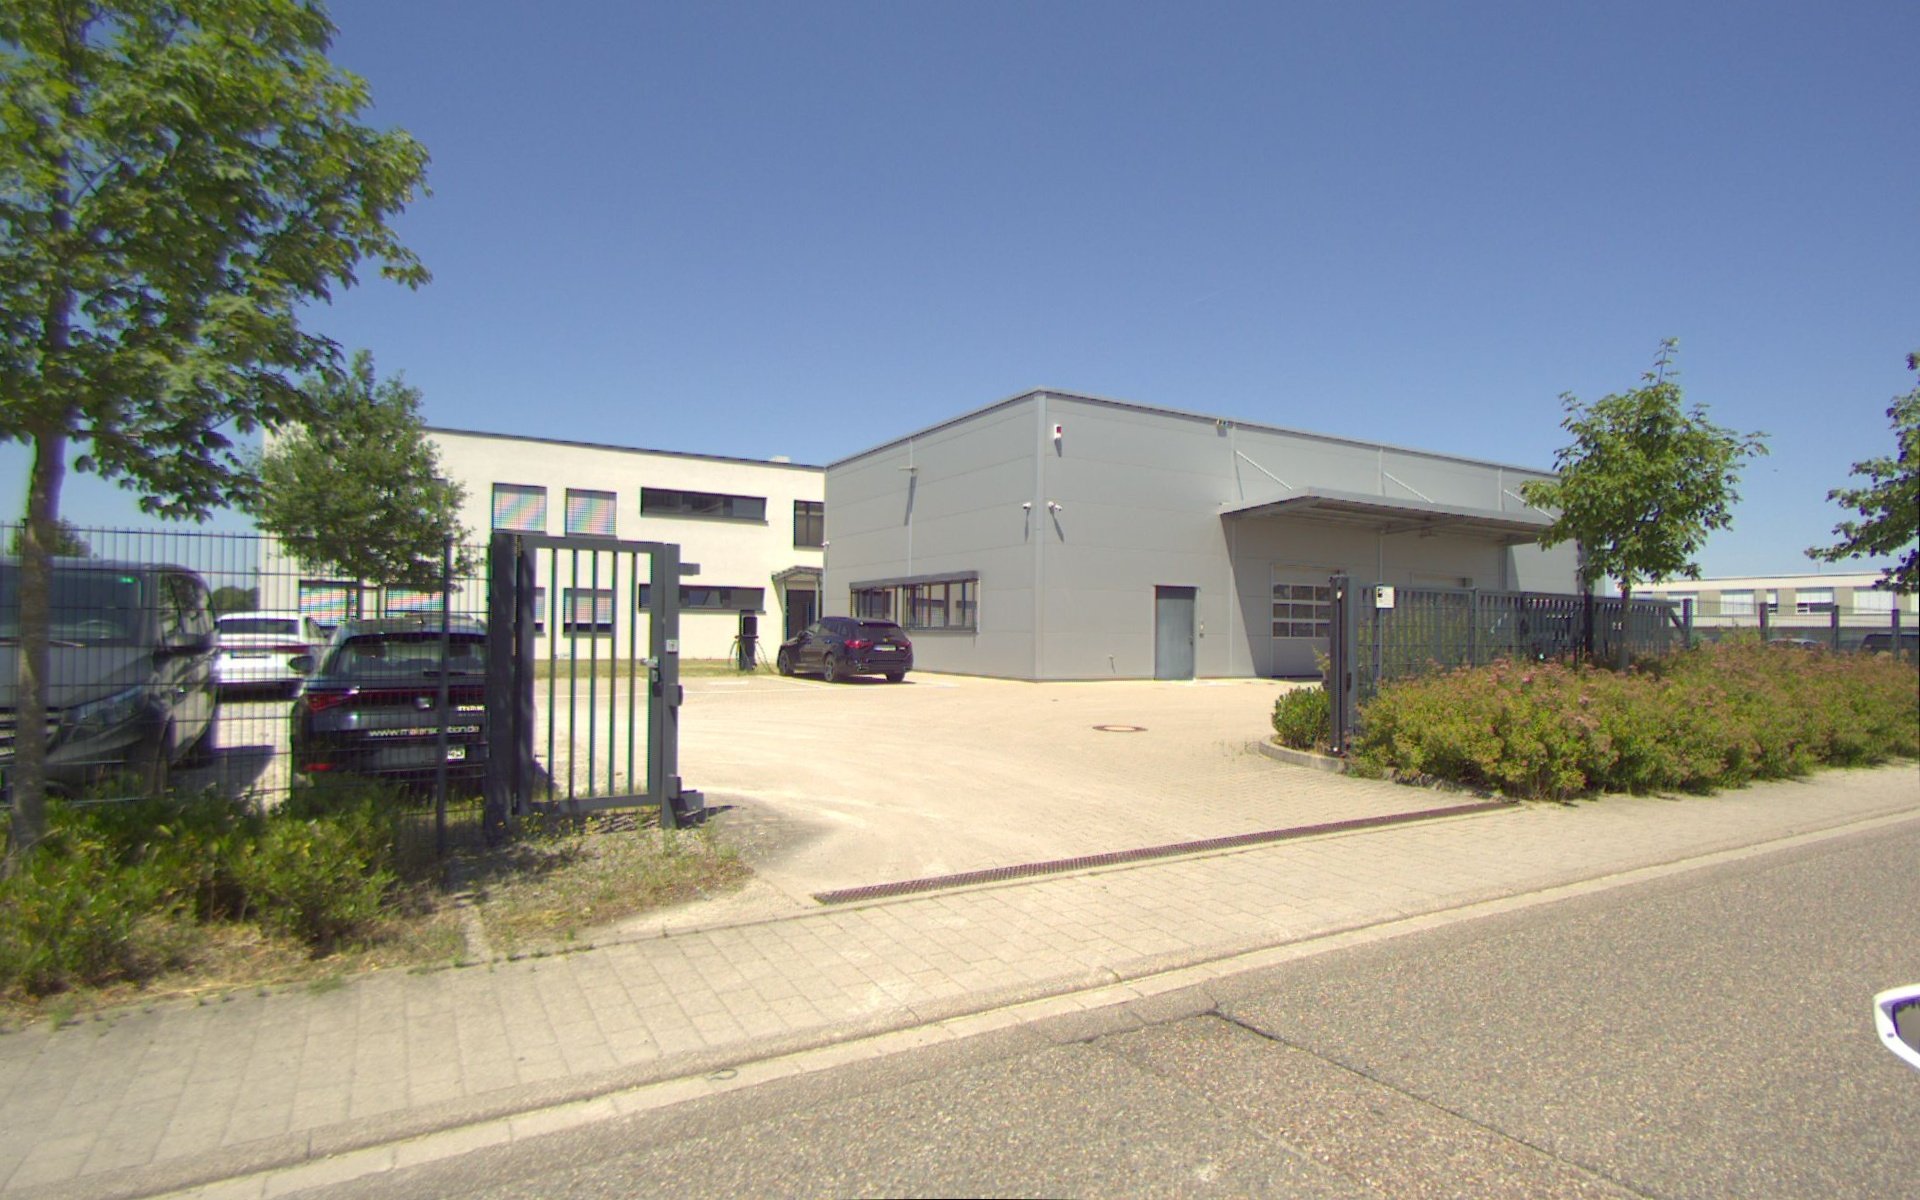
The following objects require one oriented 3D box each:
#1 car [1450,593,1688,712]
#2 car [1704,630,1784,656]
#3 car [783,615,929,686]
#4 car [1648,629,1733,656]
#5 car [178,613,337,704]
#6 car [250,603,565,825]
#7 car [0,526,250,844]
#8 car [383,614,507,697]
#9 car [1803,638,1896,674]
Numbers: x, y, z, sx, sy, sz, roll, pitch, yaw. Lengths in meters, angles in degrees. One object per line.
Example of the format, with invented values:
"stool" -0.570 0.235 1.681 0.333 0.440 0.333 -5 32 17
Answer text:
"car" 12.164 0.996 20.020 4.636 2.127 1.992 2 0 -29
"car" 36.130 1.981 46.276 3.719 1.149 1.815 2 -2 -33
"car" -2.535 1.119 23.616 1.976 1.517 4.071 1 -1 -29
"car" 32.010 1.865 44.015 3.719 1.149 1.815 2 -2 -33
"car" -11.965 0.927 17.367 1.859 1.368 4.087 1 -1 -30
"car" -4.913 0.794 9.009 1.941 1.465 4.284 1 -1 -30
"car" -7.140 0.517 7.975 1.941 1.875 5.035 1 -1 -30
"car" -9.763 0.972 18.900 1.859 1.368 4.087 1 -1 -30
"car" 35.050 2.177 39.561 3.719 1.355 1.815 2 -2 -33
